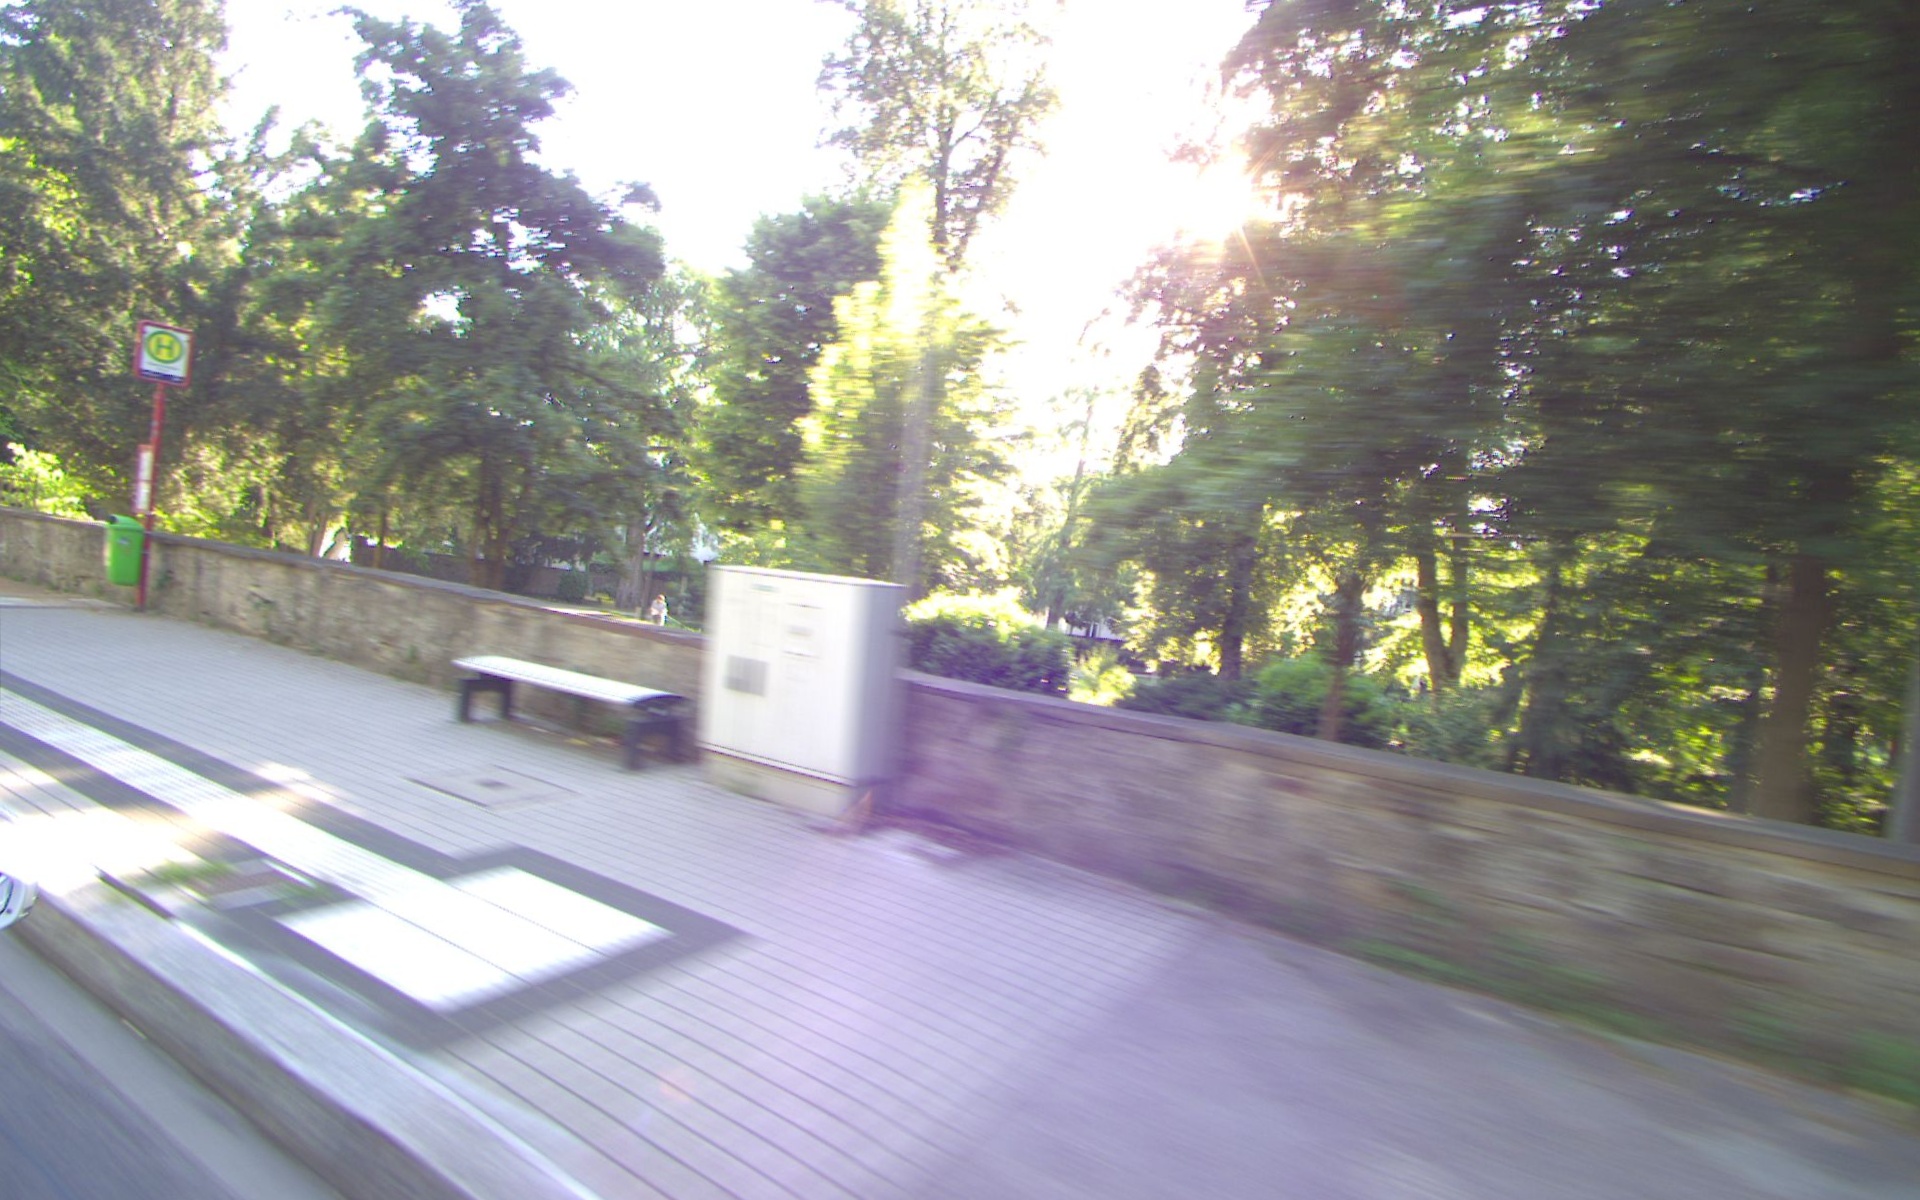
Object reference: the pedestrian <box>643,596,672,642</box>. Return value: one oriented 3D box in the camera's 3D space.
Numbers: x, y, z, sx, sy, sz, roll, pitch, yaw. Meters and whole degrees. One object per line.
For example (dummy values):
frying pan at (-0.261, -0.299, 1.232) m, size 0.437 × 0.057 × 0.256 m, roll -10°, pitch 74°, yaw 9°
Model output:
pedestrian at (-11.697, 0.737, 38.880) m, size 0.626 × 1.659 × 0.615 m, roll 7°, pitch -1°, yaw 33°
